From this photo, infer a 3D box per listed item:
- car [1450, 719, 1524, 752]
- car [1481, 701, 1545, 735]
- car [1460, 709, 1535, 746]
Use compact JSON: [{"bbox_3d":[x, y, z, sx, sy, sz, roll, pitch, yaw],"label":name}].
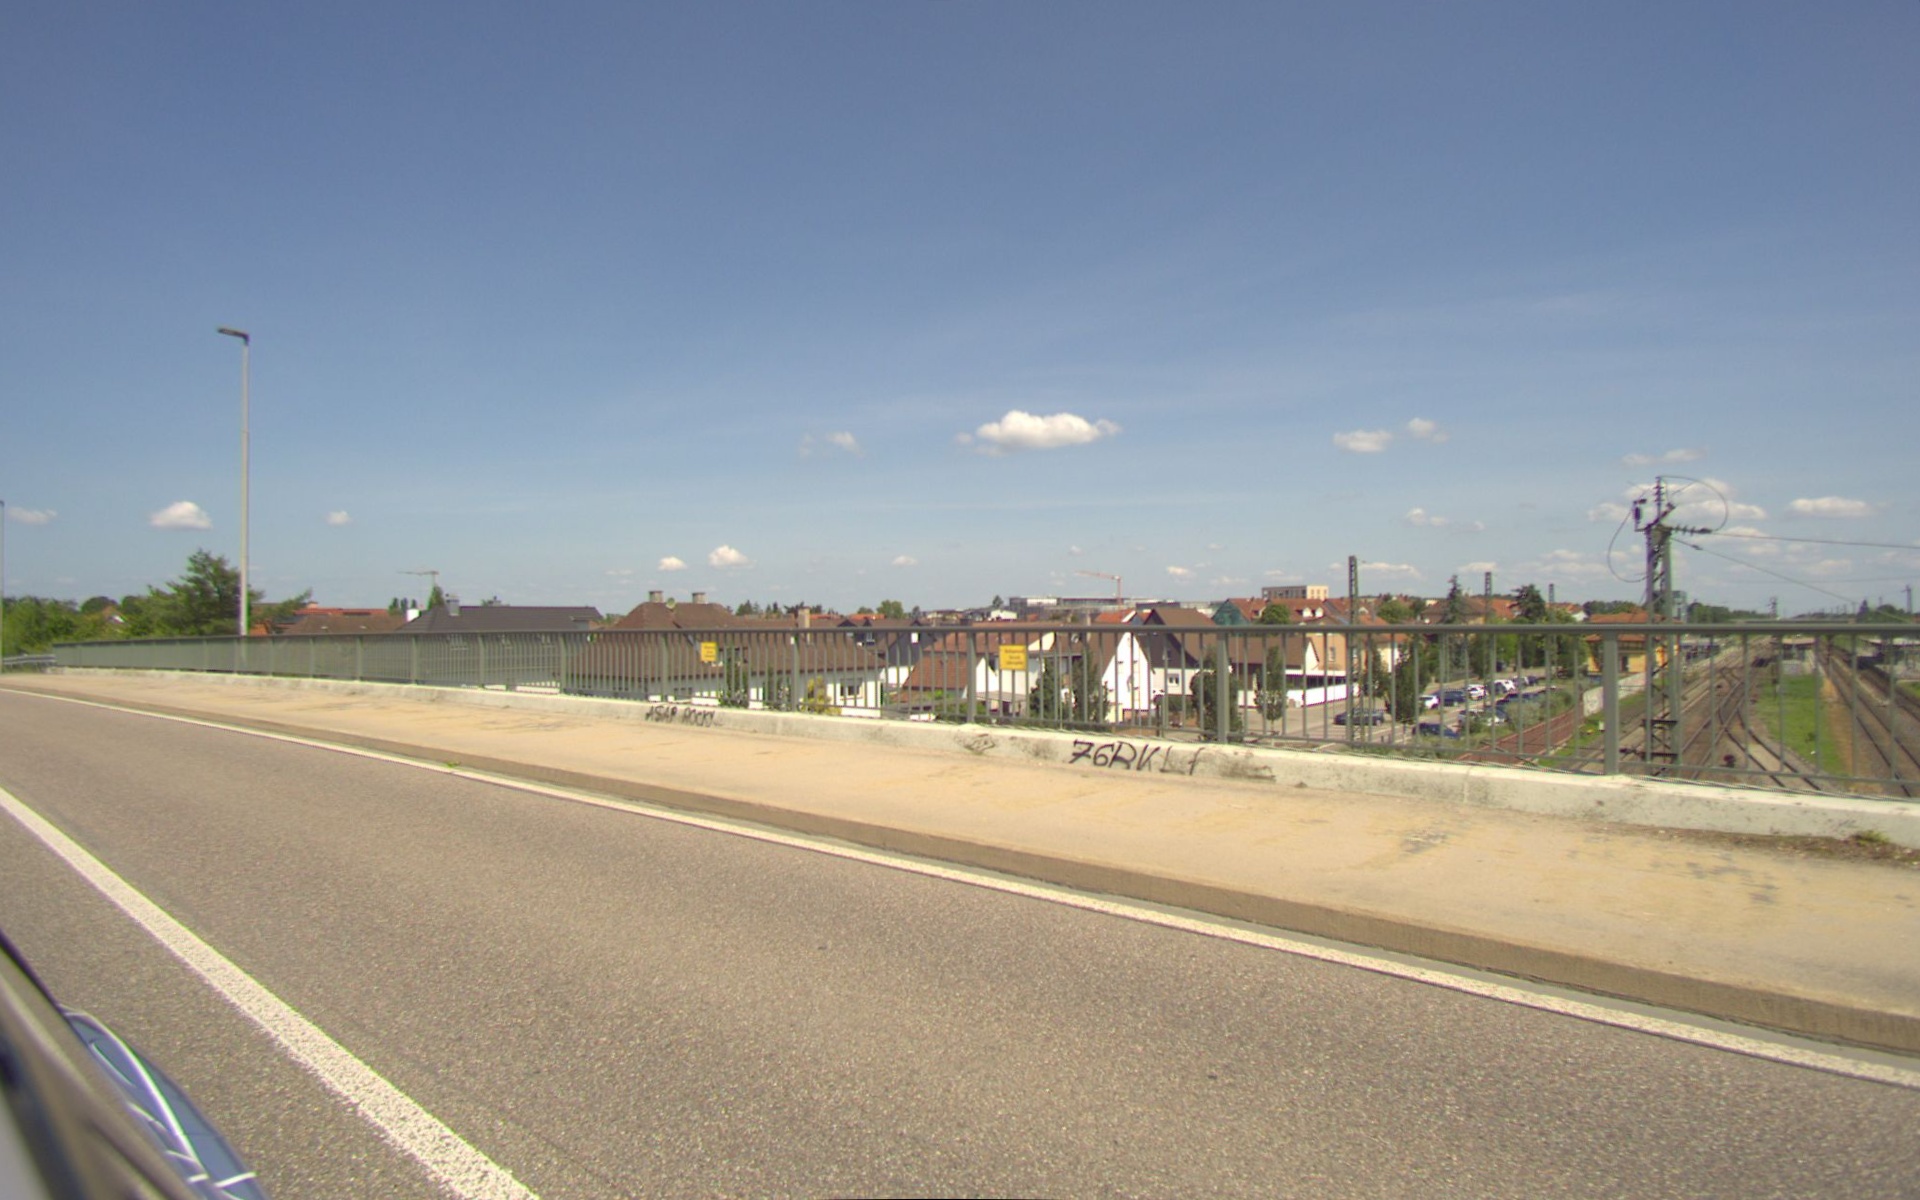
[{"bbox_3d":[40.140,10.283,77.223,2.172,1.612,4.633,-5,3,-23],"label":"car"},{"bbox_3d":[44.380,9.474,81.260,1.966,2.028,4.012,-5,3,-30],"label":"car"},{"bbox_3d":[42.259,9.983,79.644,1.967,2.028,4.868,-6,4,-31],"label":"car"}]
